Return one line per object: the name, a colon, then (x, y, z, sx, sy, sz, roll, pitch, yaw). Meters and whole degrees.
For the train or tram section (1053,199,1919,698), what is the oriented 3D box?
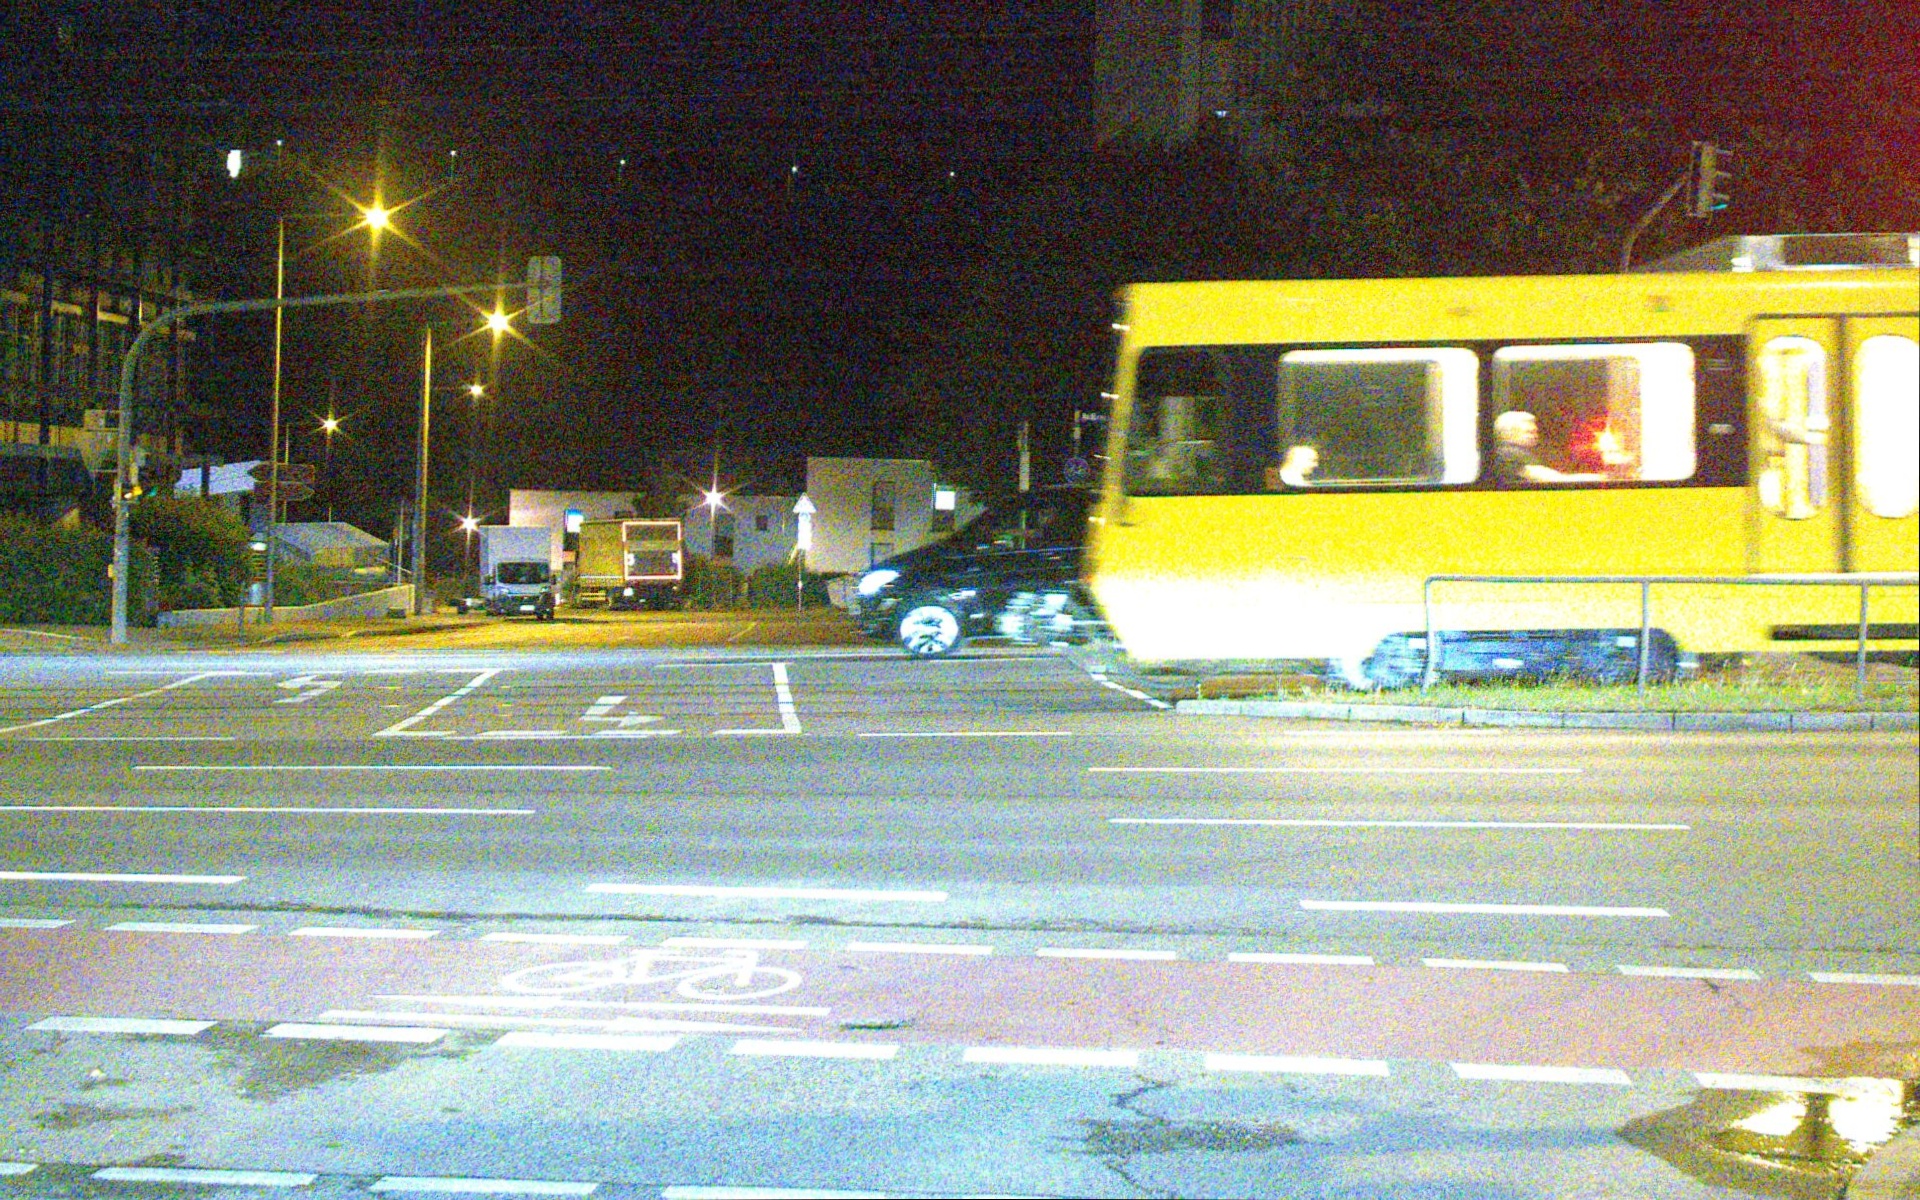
train or tram section: (10.037, -1.274, 28.006, 18.421, 3.836, 2.965, 0, 3, 4)

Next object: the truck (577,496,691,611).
truck: (-14.260, -2.004, 149.784, 3.359, 4.826, 7.908, 1, 0, -17)

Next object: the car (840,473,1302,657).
car: (1.263, -0.380, 37.901, 4.944, 1.878, 1.869, 1, 0, 5)

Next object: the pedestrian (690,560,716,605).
pedestrian: (-11.090, -0.757, 148.321, 0.849, 1.905, 1.007, 1, 0, -18)

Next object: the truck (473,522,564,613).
truck: (-15.509, -1.136, 120.557, 2.417, 3.078, 6.440, 1, 0, -14)
